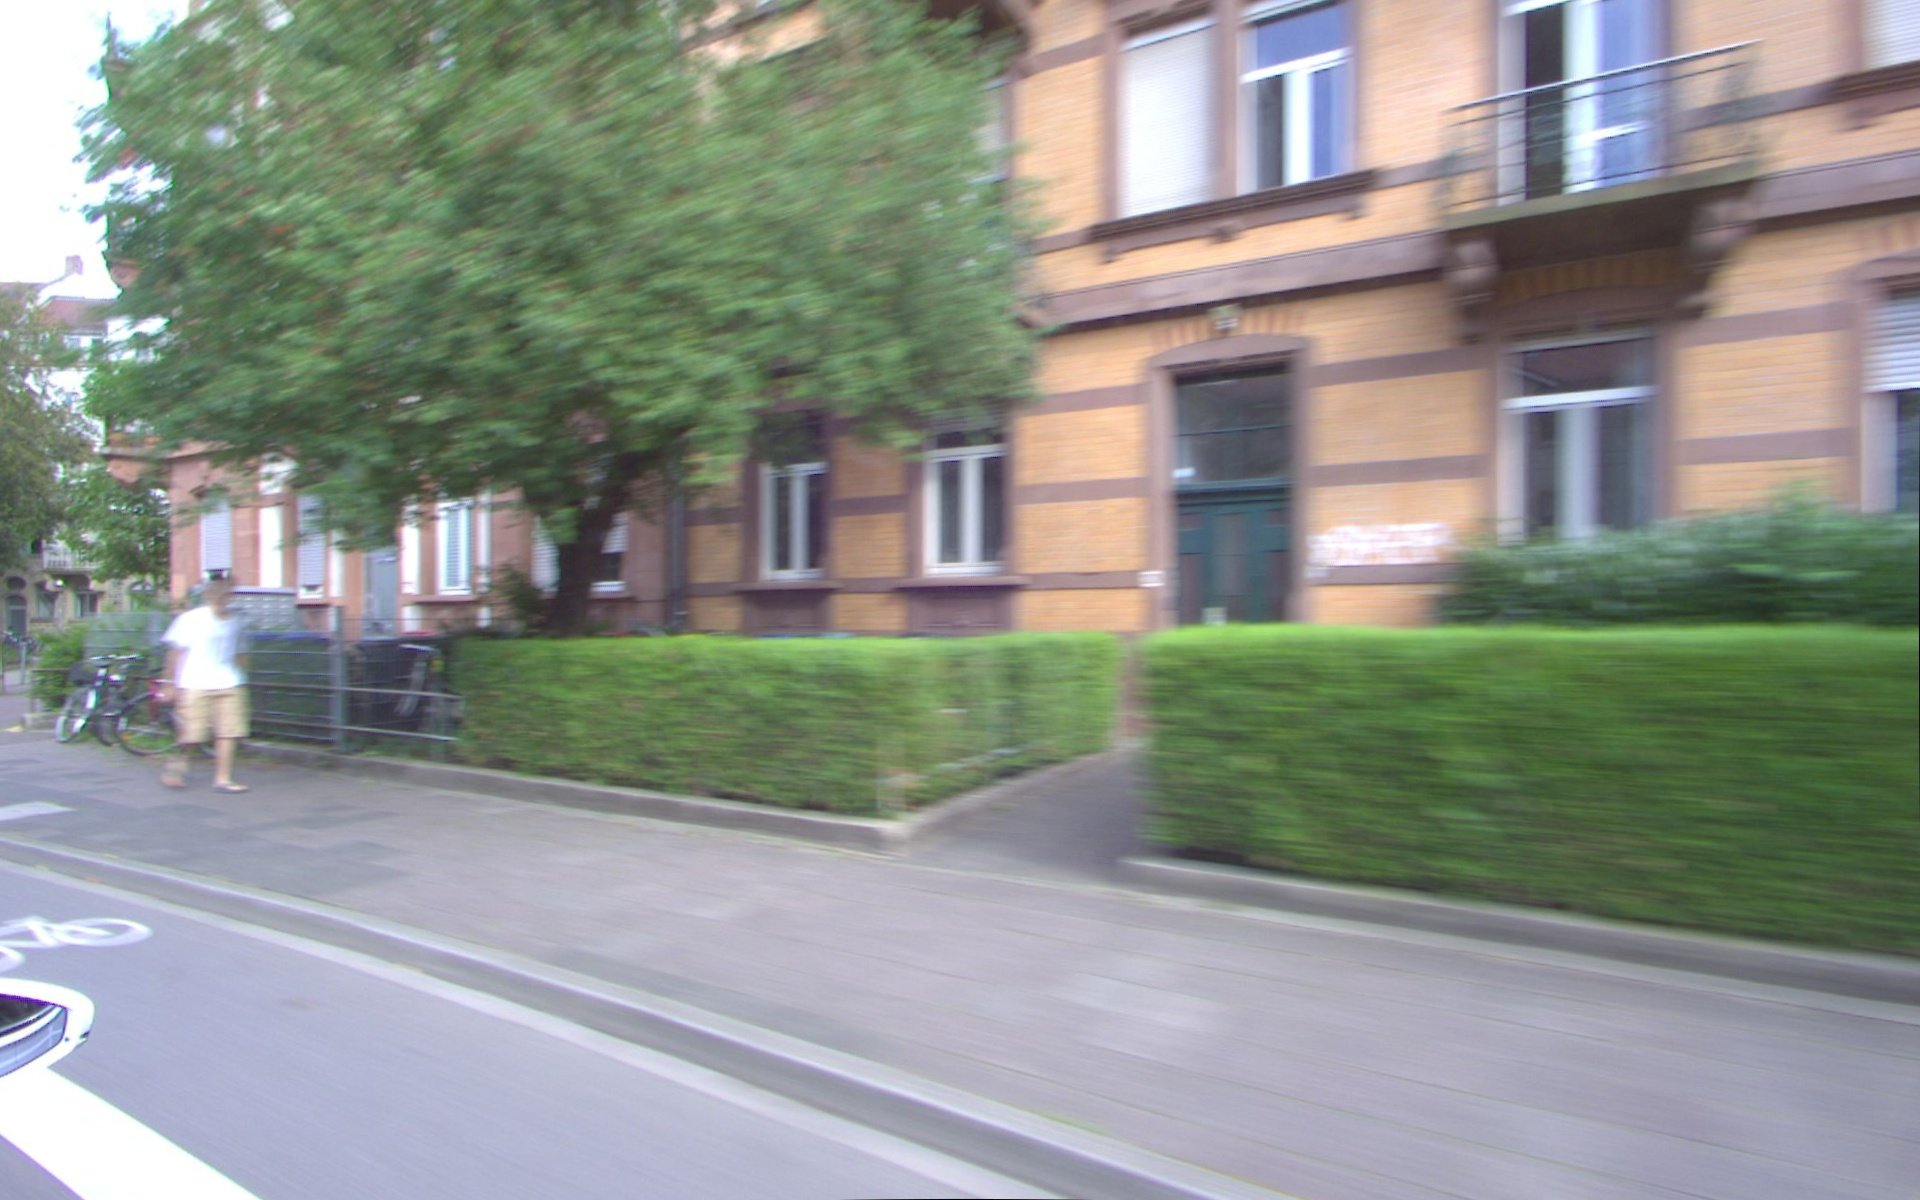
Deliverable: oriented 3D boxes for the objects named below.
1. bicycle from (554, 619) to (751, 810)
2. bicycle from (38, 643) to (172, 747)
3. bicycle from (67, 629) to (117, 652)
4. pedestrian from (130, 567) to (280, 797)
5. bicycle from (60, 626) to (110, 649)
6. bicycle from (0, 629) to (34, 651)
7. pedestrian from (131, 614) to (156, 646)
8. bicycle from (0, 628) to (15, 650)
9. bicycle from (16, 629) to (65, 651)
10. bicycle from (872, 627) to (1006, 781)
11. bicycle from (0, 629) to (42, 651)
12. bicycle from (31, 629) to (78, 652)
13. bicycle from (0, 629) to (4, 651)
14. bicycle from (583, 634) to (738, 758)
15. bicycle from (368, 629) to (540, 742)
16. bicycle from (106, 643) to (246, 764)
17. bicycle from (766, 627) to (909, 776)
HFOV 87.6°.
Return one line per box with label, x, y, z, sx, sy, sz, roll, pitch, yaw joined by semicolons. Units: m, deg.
bicycle;-2.304;0.791;7.444;1.527;1.299;0.515;0;0;31
bicycle;-10.081;1.082;11.795;1.646;1.121;0.670;0;0;29
bicycle;-44.349;2.050;51.197;0.524;1.142;1.888;0;-1;25
pedestrian;-6.248;0.643;8.290;0.936;1.777;0.729;0;0;33
bicycle;-44.893;1.918;51.404;0.524;1.142;1.888;0;-1;25
bicycle;-49.324;2.064;51.918;0.553;1.142;1.890;0;-1;20
pedestrian;-43.550;1.590;53.437;0.821;1.697;0.731;0;0;22
bicycle;-50.133;2.041;51.894;0.522;1.143;1.893;0;0;-2
bicycle;-47.551;2.063;51.783;0.571;1.142;1.893;0;-1;12
bicycle;-0.145;0.845;8.721;0.509;1.196;1.544;0;-1;27
bicycle;-48.752;2.060;51.763;0.588;1.142;1.890;0;-1;20
bicycle;-46.690;2.063;51.681;0.583;1.142;1.894;0;-1;6
bicycle;-50.674;2.106;51.898;0.522;1.143;1.893;0;0;-2
bicycle;-2.721;0.839;9.248;0.437;1.022;1.544;0;-1;27
bicycle;-5.002;0.809;10.004;0.502;1.022;1.544;0;-1;27
bicycle;-7.936;1.010;10.126;1.526;1.103;0.508;0;3;29
bicycle;-1.055;0.852;8.974;0.509;1.196;1.544;0;-1;27
